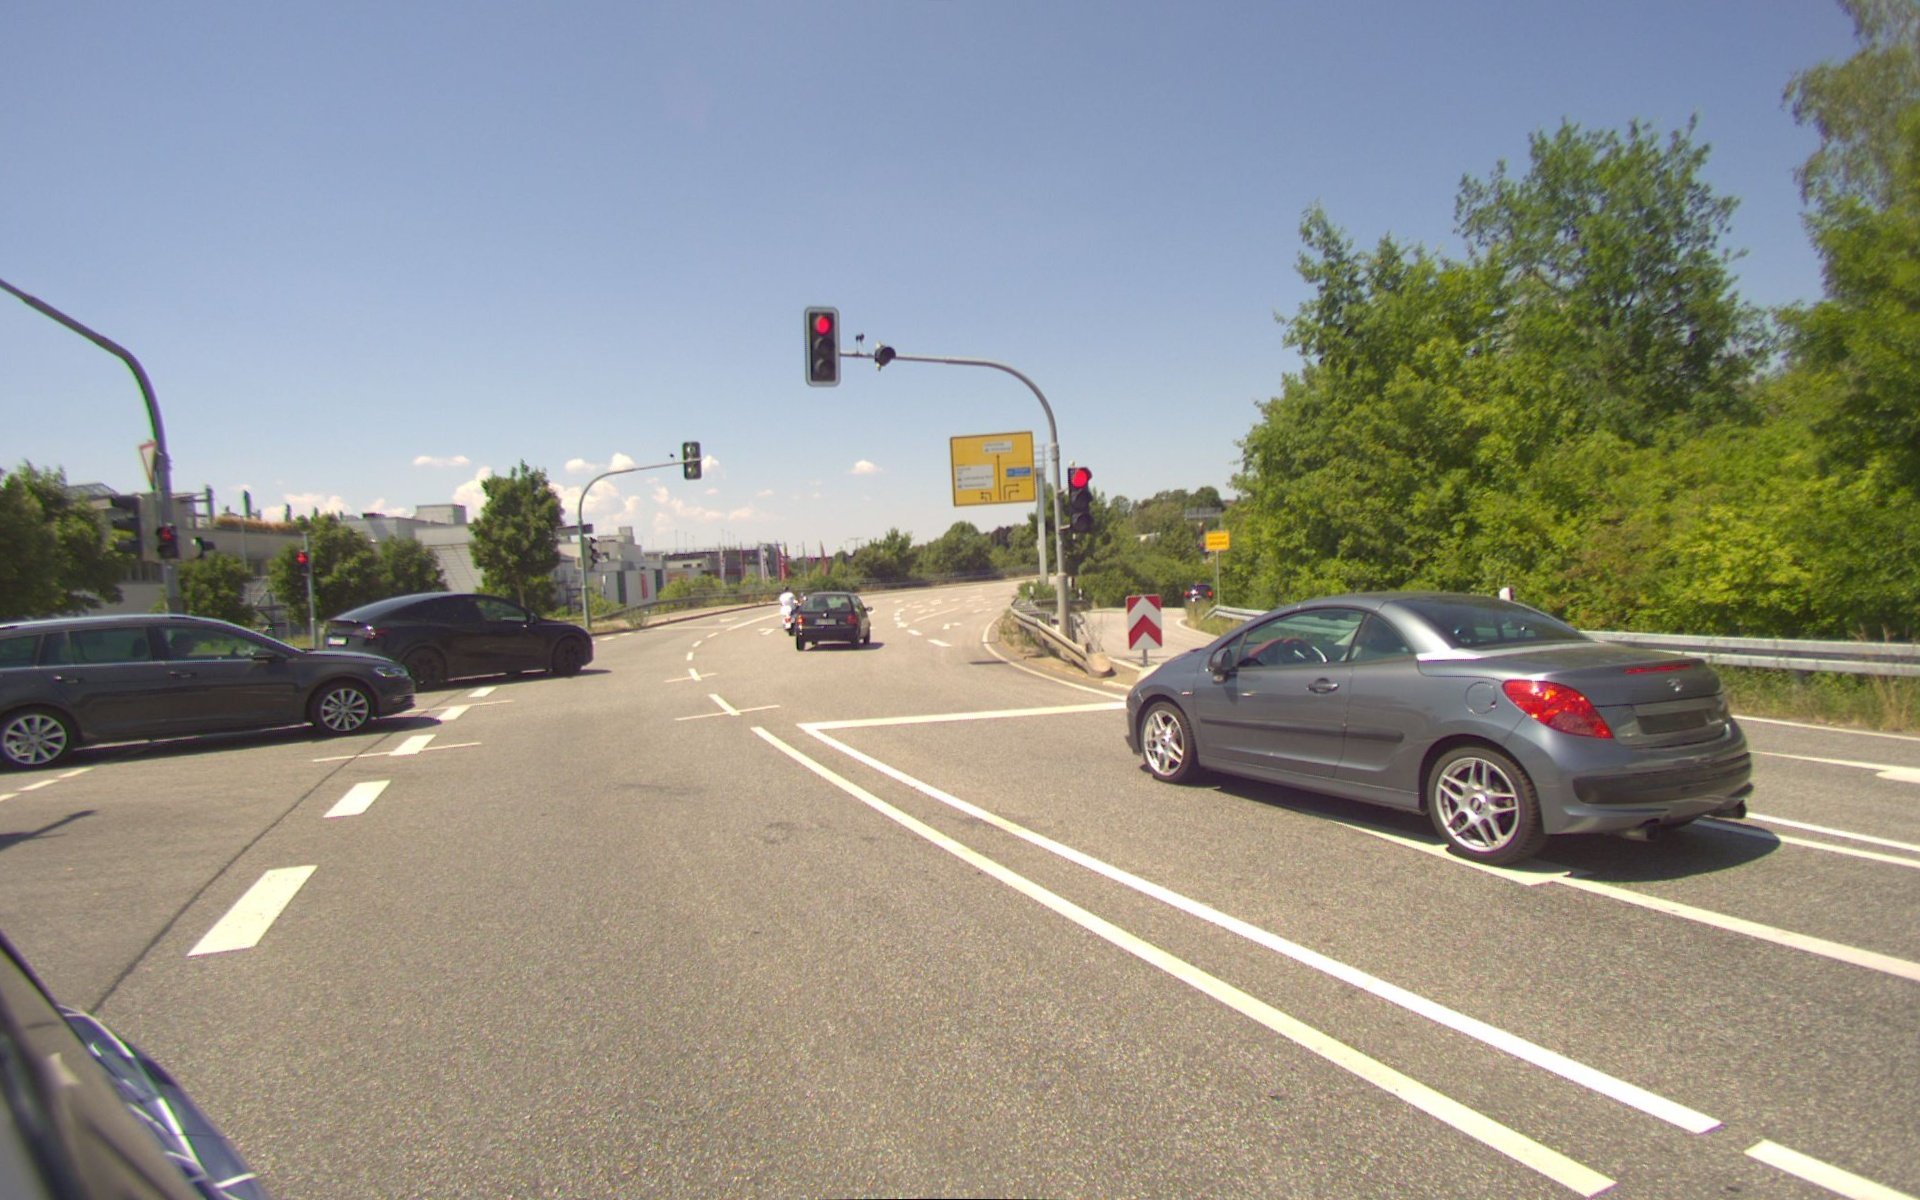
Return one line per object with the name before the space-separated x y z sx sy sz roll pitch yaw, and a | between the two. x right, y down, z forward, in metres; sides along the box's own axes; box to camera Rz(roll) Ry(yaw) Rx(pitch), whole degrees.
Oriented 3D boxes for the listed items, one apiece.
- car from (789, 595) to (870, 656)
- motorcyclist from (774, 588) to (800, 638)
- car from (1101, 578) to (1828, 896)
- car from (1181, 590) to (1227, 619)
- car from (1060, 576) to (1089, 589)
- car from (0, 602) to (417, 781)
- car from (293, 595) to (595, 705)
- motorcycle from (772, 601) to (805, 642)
car | -3.269 0.607 25.921 1.602 1.418 3.300 -2 0 0
motorcyclist | -5.611 0.410 32.842 0.605 1.551 0.846 -2 1 4
car | 2.735 0.611 6.511 1.622 1.362 3.981 -1 0 -27
car | 15.342 0.248 63.413 1.895 1.644 4.238 3 3 26
car | 13.179 -1.978 116.200 1.643 1.405 3.945 1 3 34
car | -8.598 0.897 11.144 4.357 1.493 1.788 -4 2 -36
car | -8.979 0.773 18.005 1.875 1.613 4.456 -1 1 32
motorcycle | -5.567 0.686 32.940 0.570 1.247 1.939 -2 1 4
